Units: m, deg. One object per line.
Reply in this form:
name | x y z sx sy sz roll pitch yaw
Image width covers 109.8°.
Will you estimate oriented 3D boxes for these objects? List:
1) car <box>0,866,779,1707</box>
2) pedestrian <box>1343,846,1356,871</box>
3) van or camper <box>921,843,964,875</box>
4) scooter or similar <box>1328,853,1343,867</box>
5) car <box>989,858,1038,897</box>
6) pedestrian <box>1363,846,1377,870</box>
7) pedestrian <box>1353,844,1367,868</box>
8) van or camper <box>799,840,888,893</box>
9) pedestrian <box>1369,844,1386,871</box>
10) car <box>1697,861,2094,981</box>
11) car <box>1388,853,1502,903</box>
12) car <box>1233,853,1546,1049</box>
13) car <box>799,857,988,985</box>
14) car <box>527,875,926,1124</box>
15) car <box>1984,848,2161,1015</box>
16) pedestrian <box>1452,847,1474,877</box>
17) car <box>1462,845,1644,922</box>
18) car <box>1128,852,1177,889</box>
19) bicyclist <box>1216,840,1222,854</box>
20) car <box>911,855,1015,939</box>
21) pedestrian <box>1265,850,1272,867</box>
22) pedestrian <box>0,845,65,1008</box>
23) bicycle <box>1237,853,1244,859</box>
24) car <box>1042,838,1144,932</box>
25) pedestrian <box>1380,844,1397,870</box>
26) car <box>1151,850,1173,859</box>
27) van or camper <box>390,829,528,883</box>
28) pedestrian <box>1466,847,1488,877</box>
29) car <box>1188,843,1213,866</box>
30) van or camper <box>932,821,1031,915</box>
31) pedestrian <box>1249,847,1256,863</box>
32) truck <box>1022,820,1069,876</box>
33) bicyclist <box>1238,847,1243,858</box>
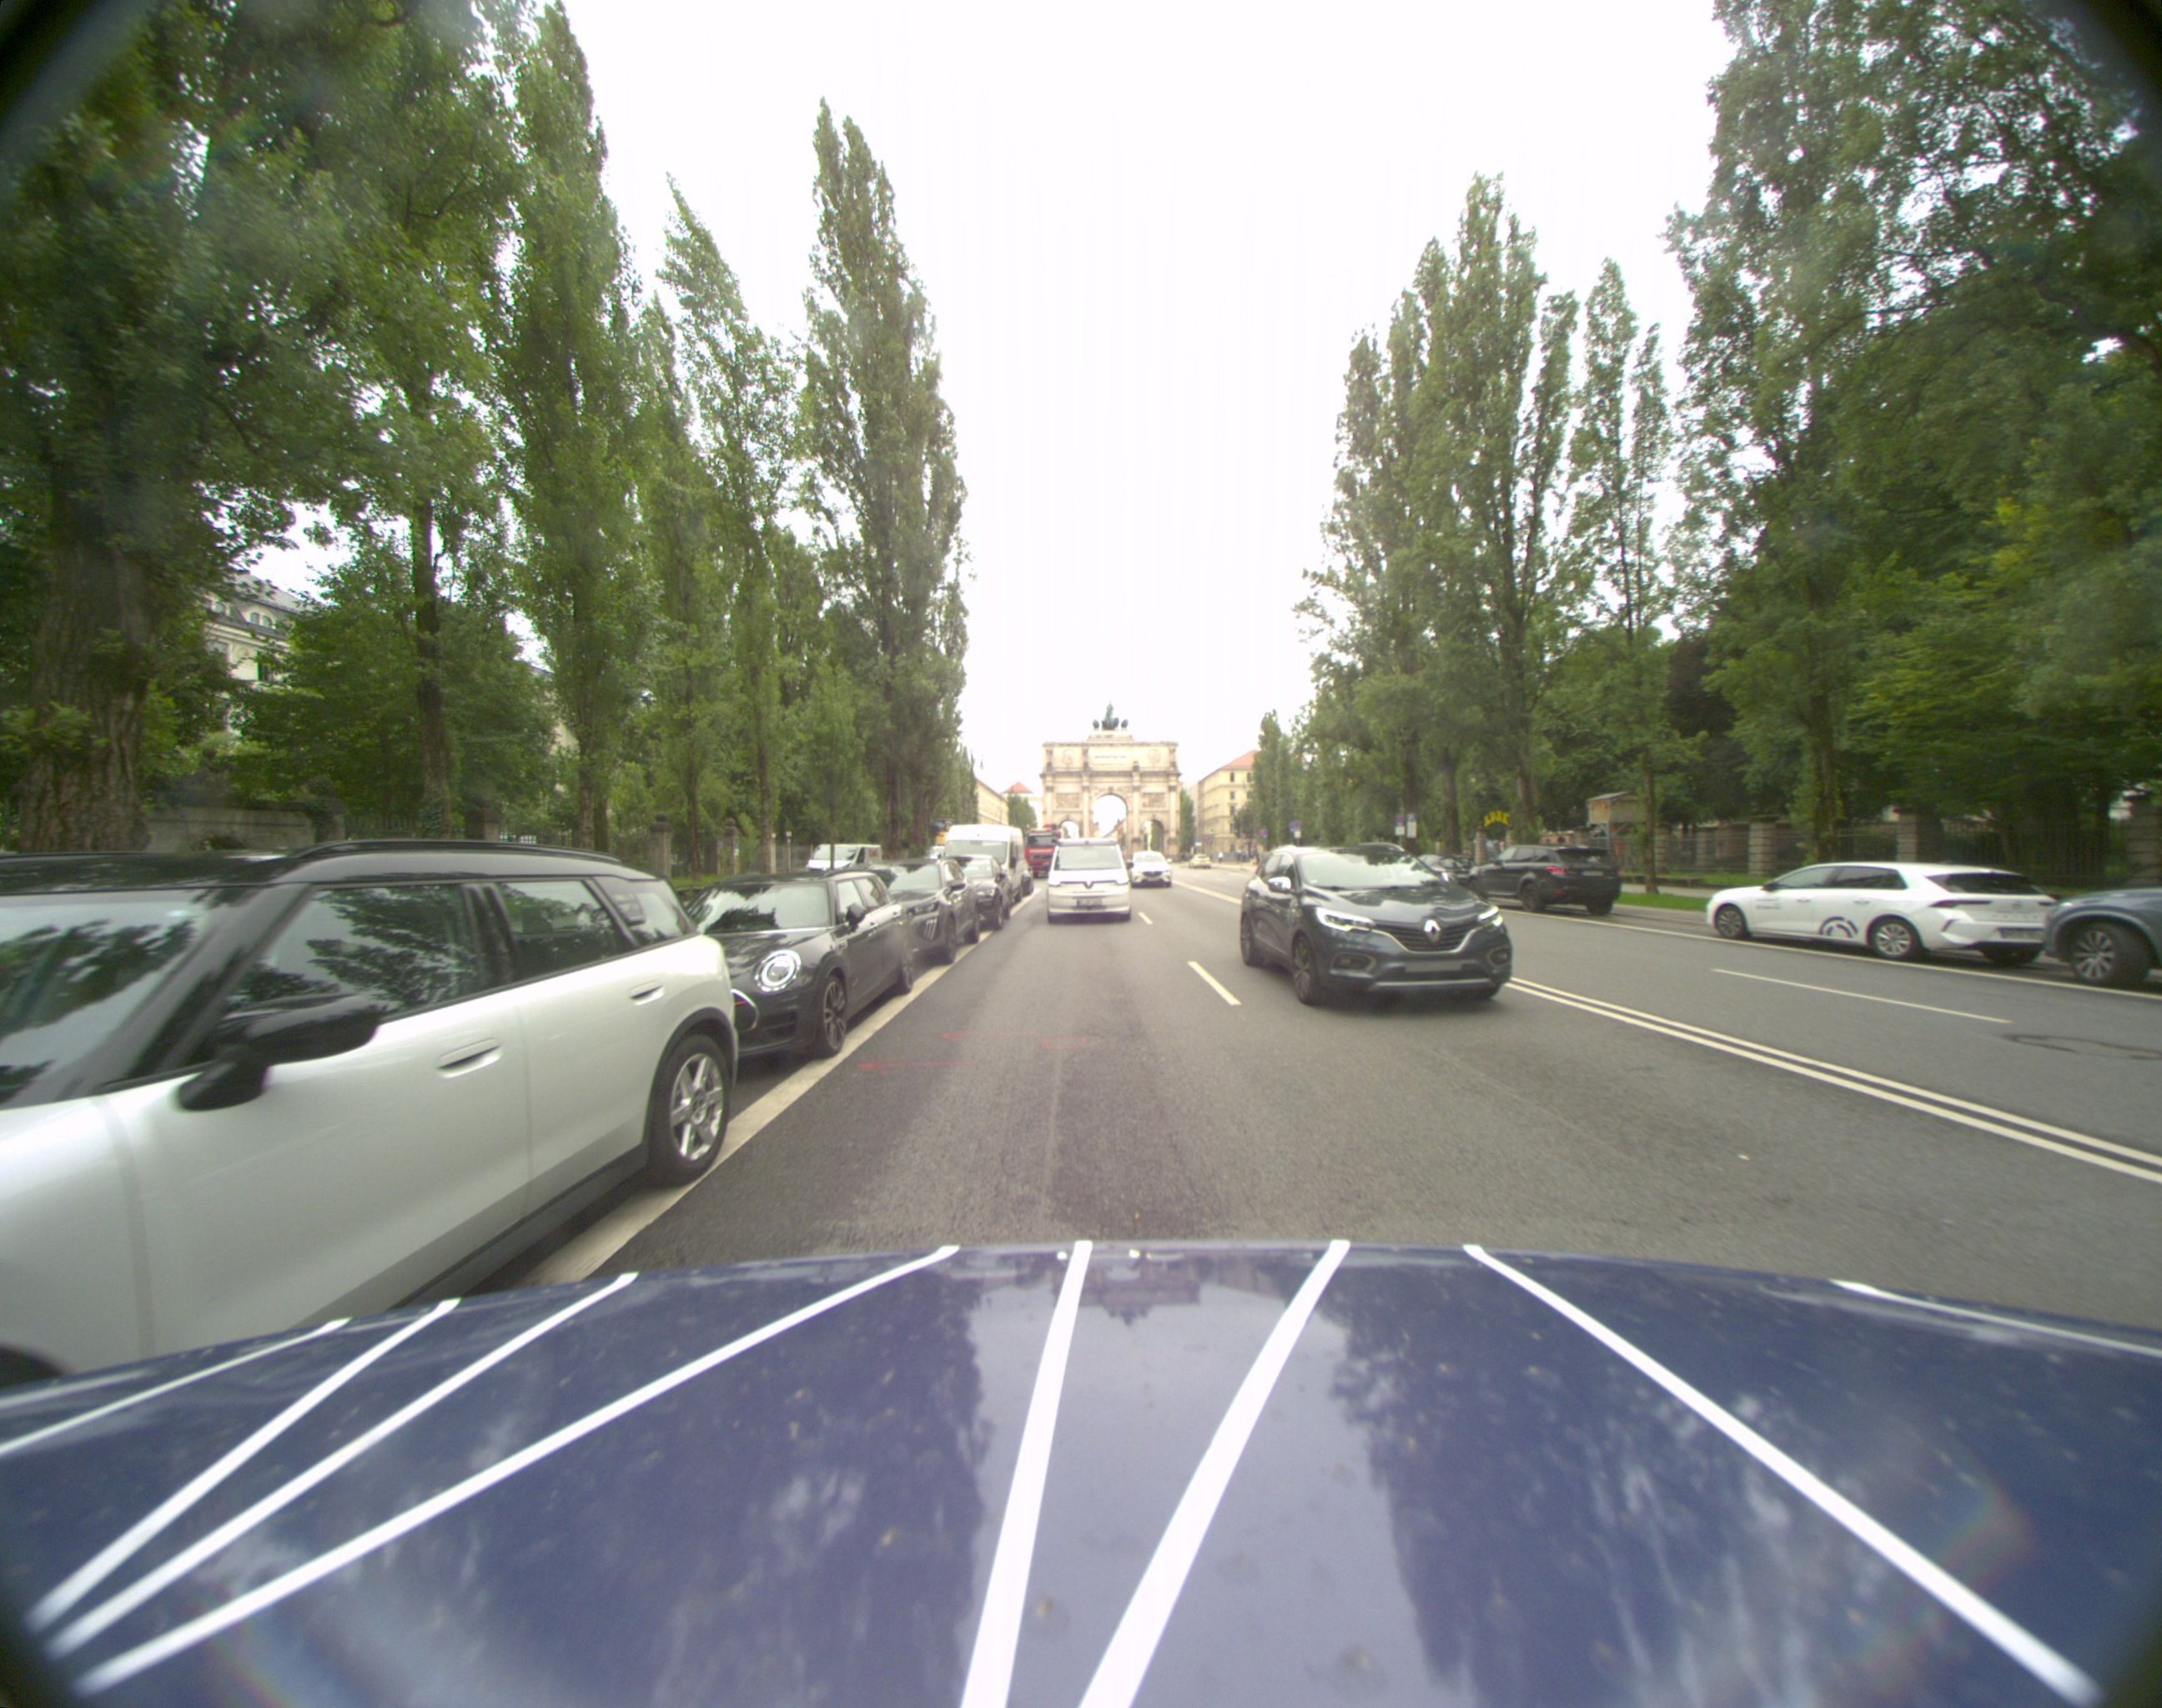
car | -2.695 0.913 2.224 1.747 1.666 4.579 0 0 1
pedestrian | 18.956 0.304 53.621 0.631 1.737 0.908 0 1 0
van or camper | -9.160 0.290 50.591 2.009 2.002 4.985 -1 0 -1
scooter or similar | 22.190 0.492 66.294 0.747 1.171 1.415 1 0 -4
car | -2.669 0.882 30.635 1.680 1.412 3.999 0 0 -1
pedestrian | 20.386 0.274 53.622 0.661 1.706 0.911 0 1 0
pedestrian | 19.681 0.138 53.615 0.689 1.690 0.885 0 1 0
van or camper | -9.576 0.460 31.107 1.980 1.922 5.037 -1 0 0
pedestrian | 20.020 0.240 51.372 0.711 1.823 1.093 0 1 0
car | 12.453 0.906 12.140 1.708 1.450 4.272 2 0 0
car | 12.762 0.774 26.961 1.949 1.574 4.388 2 0 1
car | 3.000 0.812 8.456 1.840 1.576 4.185 -2 0 1
car | -2.688 0.873 12.053 1.788 1.608 4.637 0 0 1
car | -2.773 1.024 7.158 1.707 1.511 4.295 0 0 1
car | 12.495 0.867 7.080 1.914 1.779 5.179 2 0 0
pedestrian | 20.070 0.431 39.925 0.720 1.540 0.875 0 1 -1
car | 12.560 0.697 20.674 2.051 1.776 4.800 2 1 2
car | 3.129 0.680 33.751 1.909 1.516 4.009 0 0 2
bicyclist | 18.529 -0.949 101.778 0.591 1.813 0.661 -2 1 -1
car | -2.535 0.851 17.296 1.789 1.639 4.417 0 0 -1
pedestrian | 18.798 0.415 76.242 0.533 1.720 0.583 0 1 -11
pedestrian | -12.055 0.782 8.257 0.797 1.758 0.895 0 1 3
bicycle | 23.545 0.261 112.191 0.674 0.947 1.913 -1 0 0
car | 0.308 0.627 18.567 2.064 1.916 5.728 -1 0 1
pedestrian | 20.773 0.199 51.367 0.711 1.762 1.093 0 1 0
car | 15.886 0.104 148.791 2.004 1.739 3.989 -1 0 -39
van or camper | -31.946 0.119 39.155 5.222 2.690 2.249 0 1 0
pedestrian | 20.818 0.417 39.918 0.720 1.595 0.813 0 1 -1
car | 12.356 0.030 78.817 1.797 1.332 4.457 0 14 -1
van or camper | -2.886 0.362 23.622 2.144 2.525 6.417 0 0 1
pedestrian | 18.276 0.070 81.043 0.533 1.720 0.583 0 1 -11
truck | -2.367 -0.429 53.841 2.852 3.543 10.278 -1 0 0
bicyclist | 23.543 -0.166 112.238 0.647 1.583 0.661 -2 1 -1
